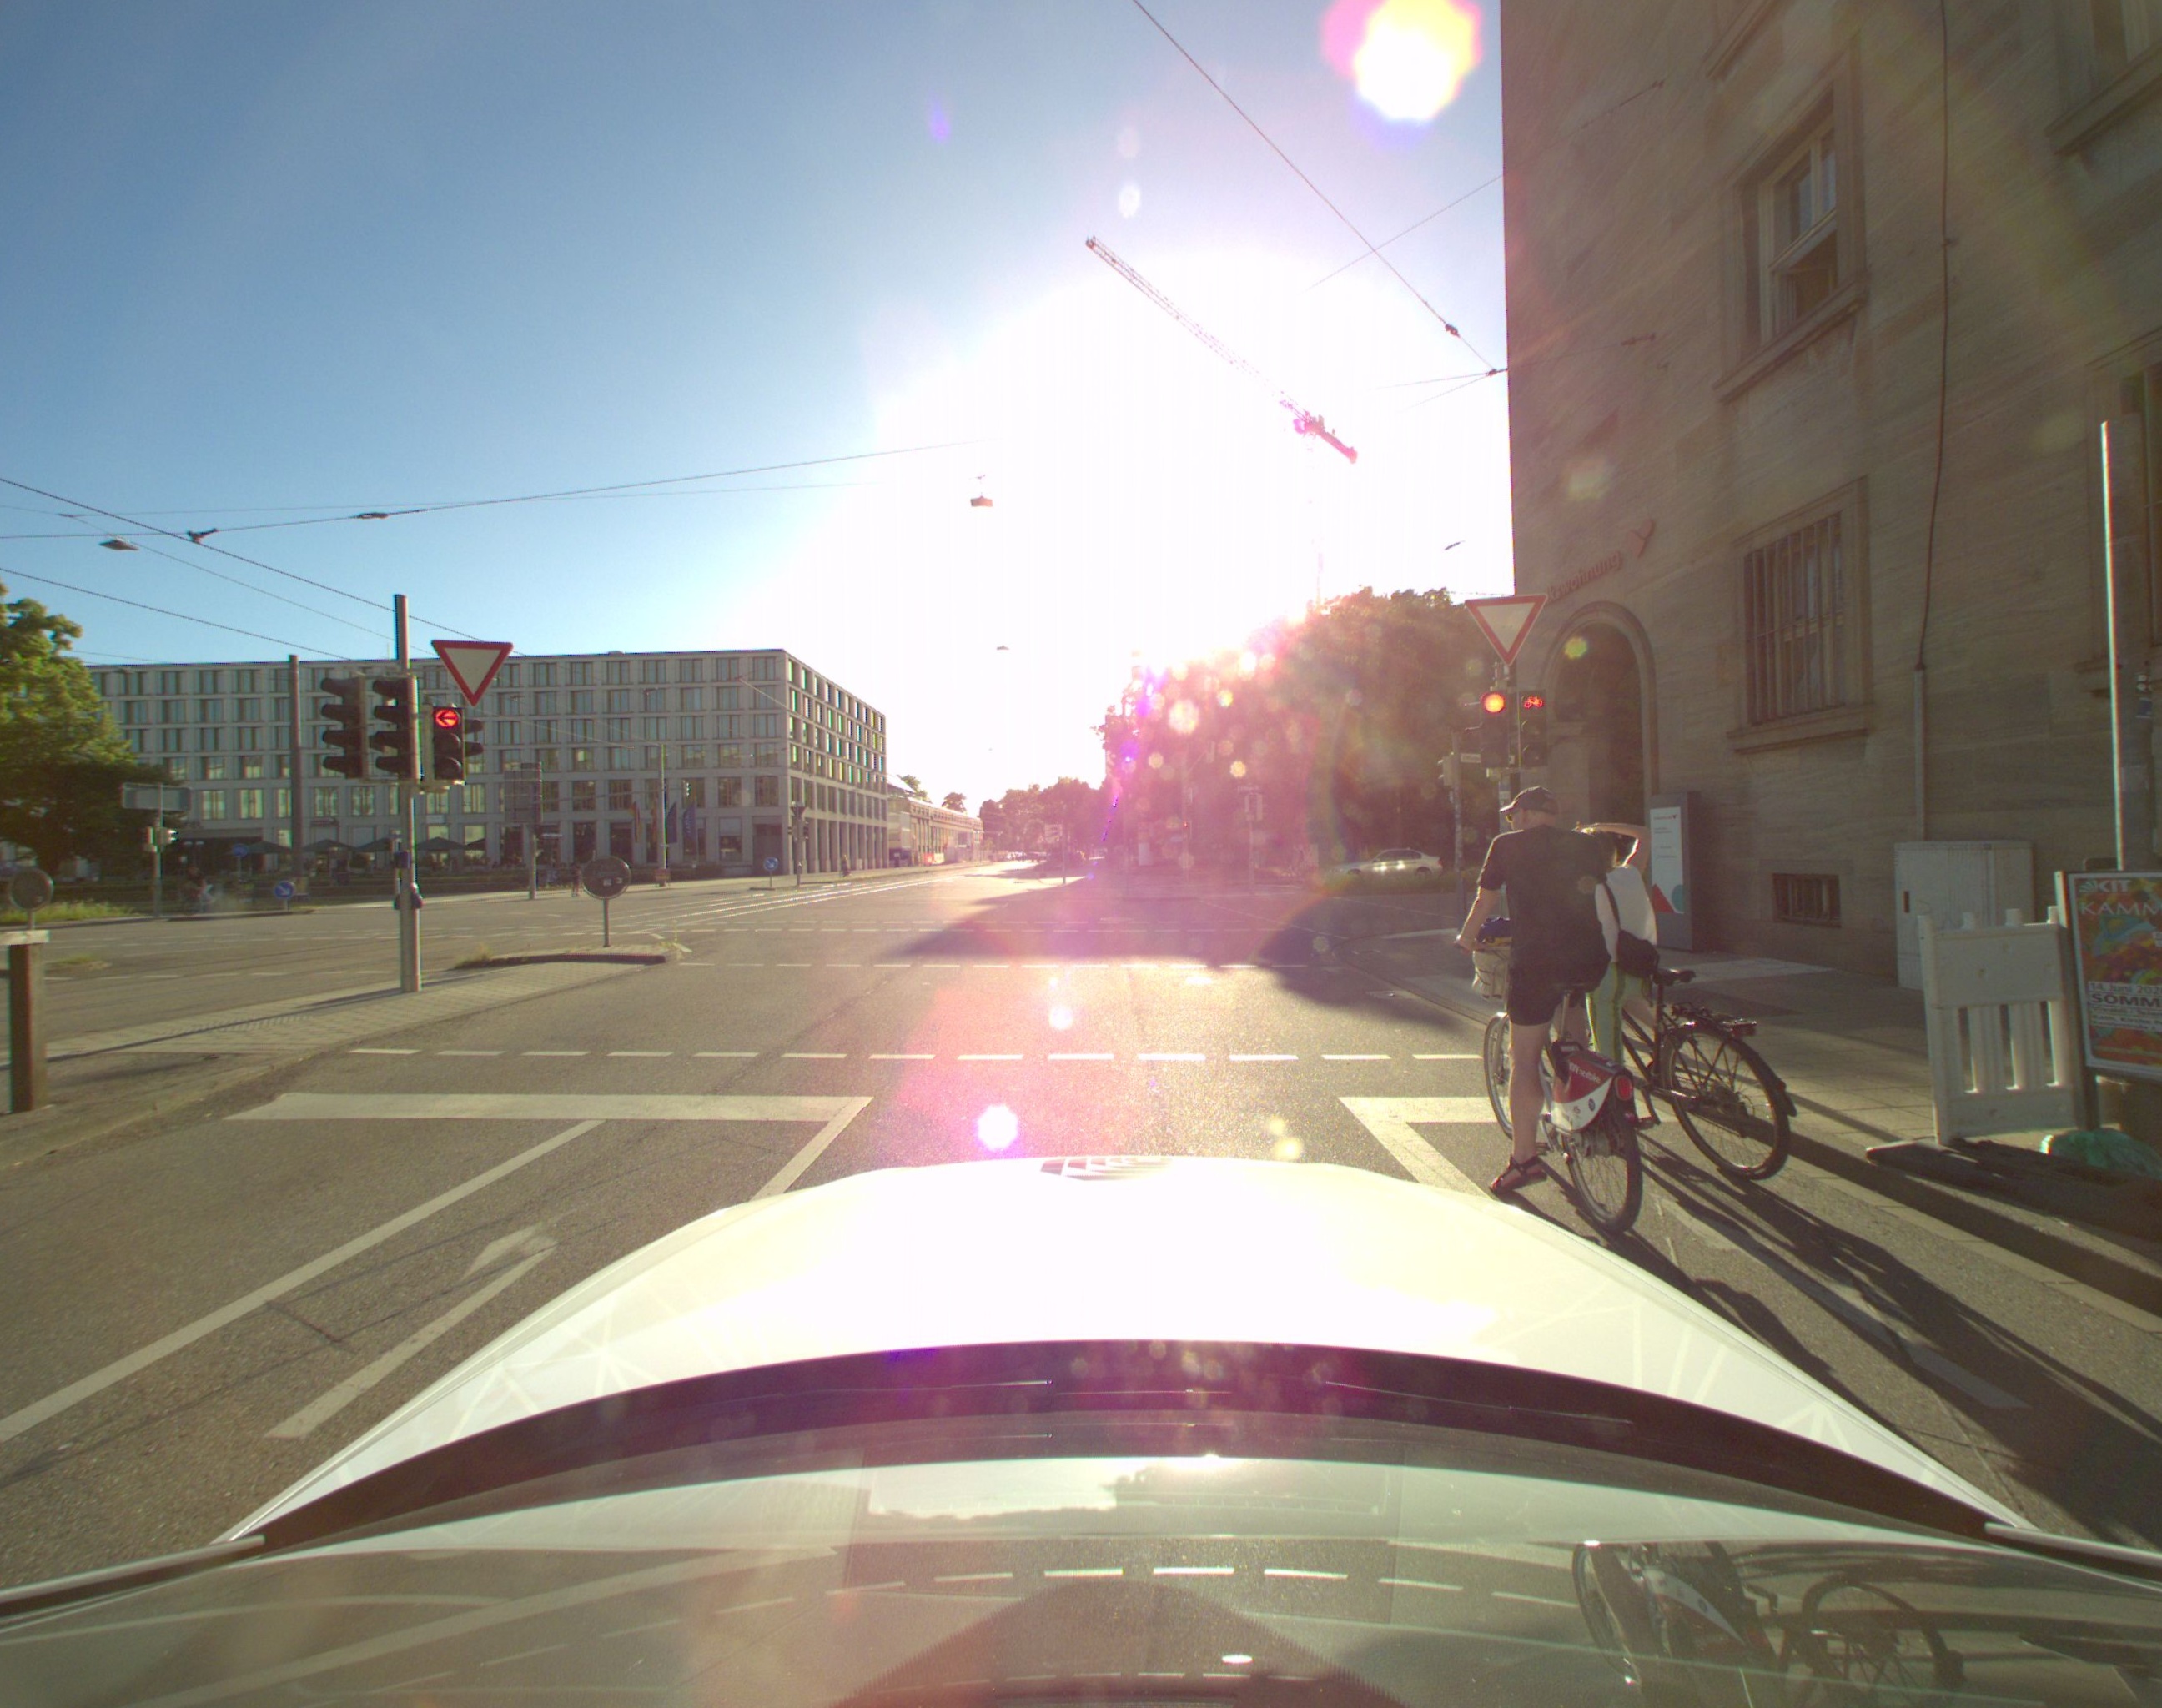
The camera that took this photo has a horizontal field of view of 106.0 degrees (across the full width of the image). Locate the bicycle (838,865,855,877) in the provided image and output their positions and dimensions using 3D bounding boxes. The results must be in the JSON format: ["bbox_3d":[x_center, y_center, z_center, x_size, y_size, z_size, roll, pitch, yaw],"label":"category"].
[{"bbox_3d":[-17.178,1.266,59.697,0.568,0.823,1.722,-2,0,8],"label":"bicycle"}]

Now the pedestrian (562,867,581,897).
[{"bbox_3d":[-28.517,1.559,45.585,0.600,1.681,0.608,-2,0,9],"label":"pedestrian"}]

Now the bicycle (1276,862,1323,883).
[{"bbox_3d":[9.720,0.829,36.286,1.932,0.889,0.719,-1,-1,8],"label":"bicycle"}]

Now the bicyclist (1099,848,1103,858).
[{"bbox_3d":[4.405,-0.240,179.411,0.891,2.014,0.746,0,-1,-10],"label":"bicyclist"}]

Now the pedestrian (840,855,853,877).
[{"bbox_3d":[-17.189,0.876,59.706,0.568,1.595,0.746,-2,0,9],"label":"pedestrian"}]

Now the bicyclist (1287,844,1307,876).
[{"bbox_3d":[9.627,0.266,36.298,0.742,1.406,0.704,-1,-1,8],"label":"bicyclist"}]

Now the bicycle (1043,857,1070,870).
[{"bbox_3d":[-2.023,0.795,67.433,2.240,0.940,0.653,-2,0,-4],"label":"bicycle"}]

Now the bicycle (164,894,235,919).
[{"bbox_3d":[-32.192,1.916,29.789,0.532,0.787,1.853,-2,0,2],"label":"bicycle"}]

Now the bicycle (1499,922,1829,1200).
[{"bbox_3d":[2.975,0.973,4.405,0.579,1.044,1.748,-2,0,3],"label":"bicycle"}]

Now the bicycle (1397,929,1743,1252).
[{"bbox_3d":[2.194,0.974,3.959,0.621,1.044,1.747,-2,0,1],"label":"bicycle"}]

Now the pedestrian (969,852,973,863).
[{"bbox_3d":[-18.965,0.523,139.925,0.585,1.889,0.479,0,-1,4],"label":"pedestrian"}]

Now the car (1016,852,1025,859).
[{"bbox_3d":[-14.450,0.306,195.326,1.988,1.644,3.998,-2,0,-1],"label":"car"}]

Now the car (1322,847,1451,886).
[{"bbox_3d":[12.443,0.504,33.417,4.559,1.516,2.001,0,-1,1],"label":"car"}]

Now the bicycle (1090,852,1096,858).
[{"bbox_3d":[2.626,0.163,178.427,0.890,1.219,2.784,0,-1,-9],"label":"bicycle"}]

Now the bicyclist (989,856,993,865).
[{"bbox_3d":[-14.834,1.062,133.733,0.492,1.498,0.667,-2,0,4],"label":"bicyclist"}]

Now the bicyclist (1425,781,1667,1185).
[{"bbox_3d":[2.187,0.554,3.949,0.621,1.715,0.913,-2,0,1],"label":"bicyclist"}]

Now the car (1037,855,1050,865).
[{"bbox_3d":[-6.315,1.031,137.309,1.986,1.640,4.001,0,-1,2],"label":"car"}]

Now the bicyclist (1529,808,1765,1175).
[{"bbox_3d":[2.965,0.658,4.371,0.581,1.738,0.951,-2,0,2],"label":"bicyclist"}]

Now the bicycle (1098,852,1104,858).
[{"bbox_3d":[4.411,0.157,179.366,0.890,1.219,2.784,0,-1,-9],"label":"bicycle"}]

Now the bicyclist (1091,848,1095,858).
[{"bbox_3d":[2.647,-0.235,178.350,0.891,2.014,0.746,0,-1,-10],"label":"bicyclist"}]

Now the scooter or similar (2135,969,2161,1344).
[{"bbox_3d":[3.302,0.936,1.852,0.567,1.149,1.279,-2,0,26],"label":"scooter or similar"}]

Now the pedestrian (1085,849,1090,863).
[{"bbox_3d":[0.772,0.196,97.876,0.576,1.689,0.584,-2,0,-6],"label":"pedestrian"}]

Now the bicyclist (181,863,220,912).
[{"bbox_3d":[-32.212,1.211,29.811,0.532,1.761,0.771,-2,0,2],"label":"bicyclist"}]
